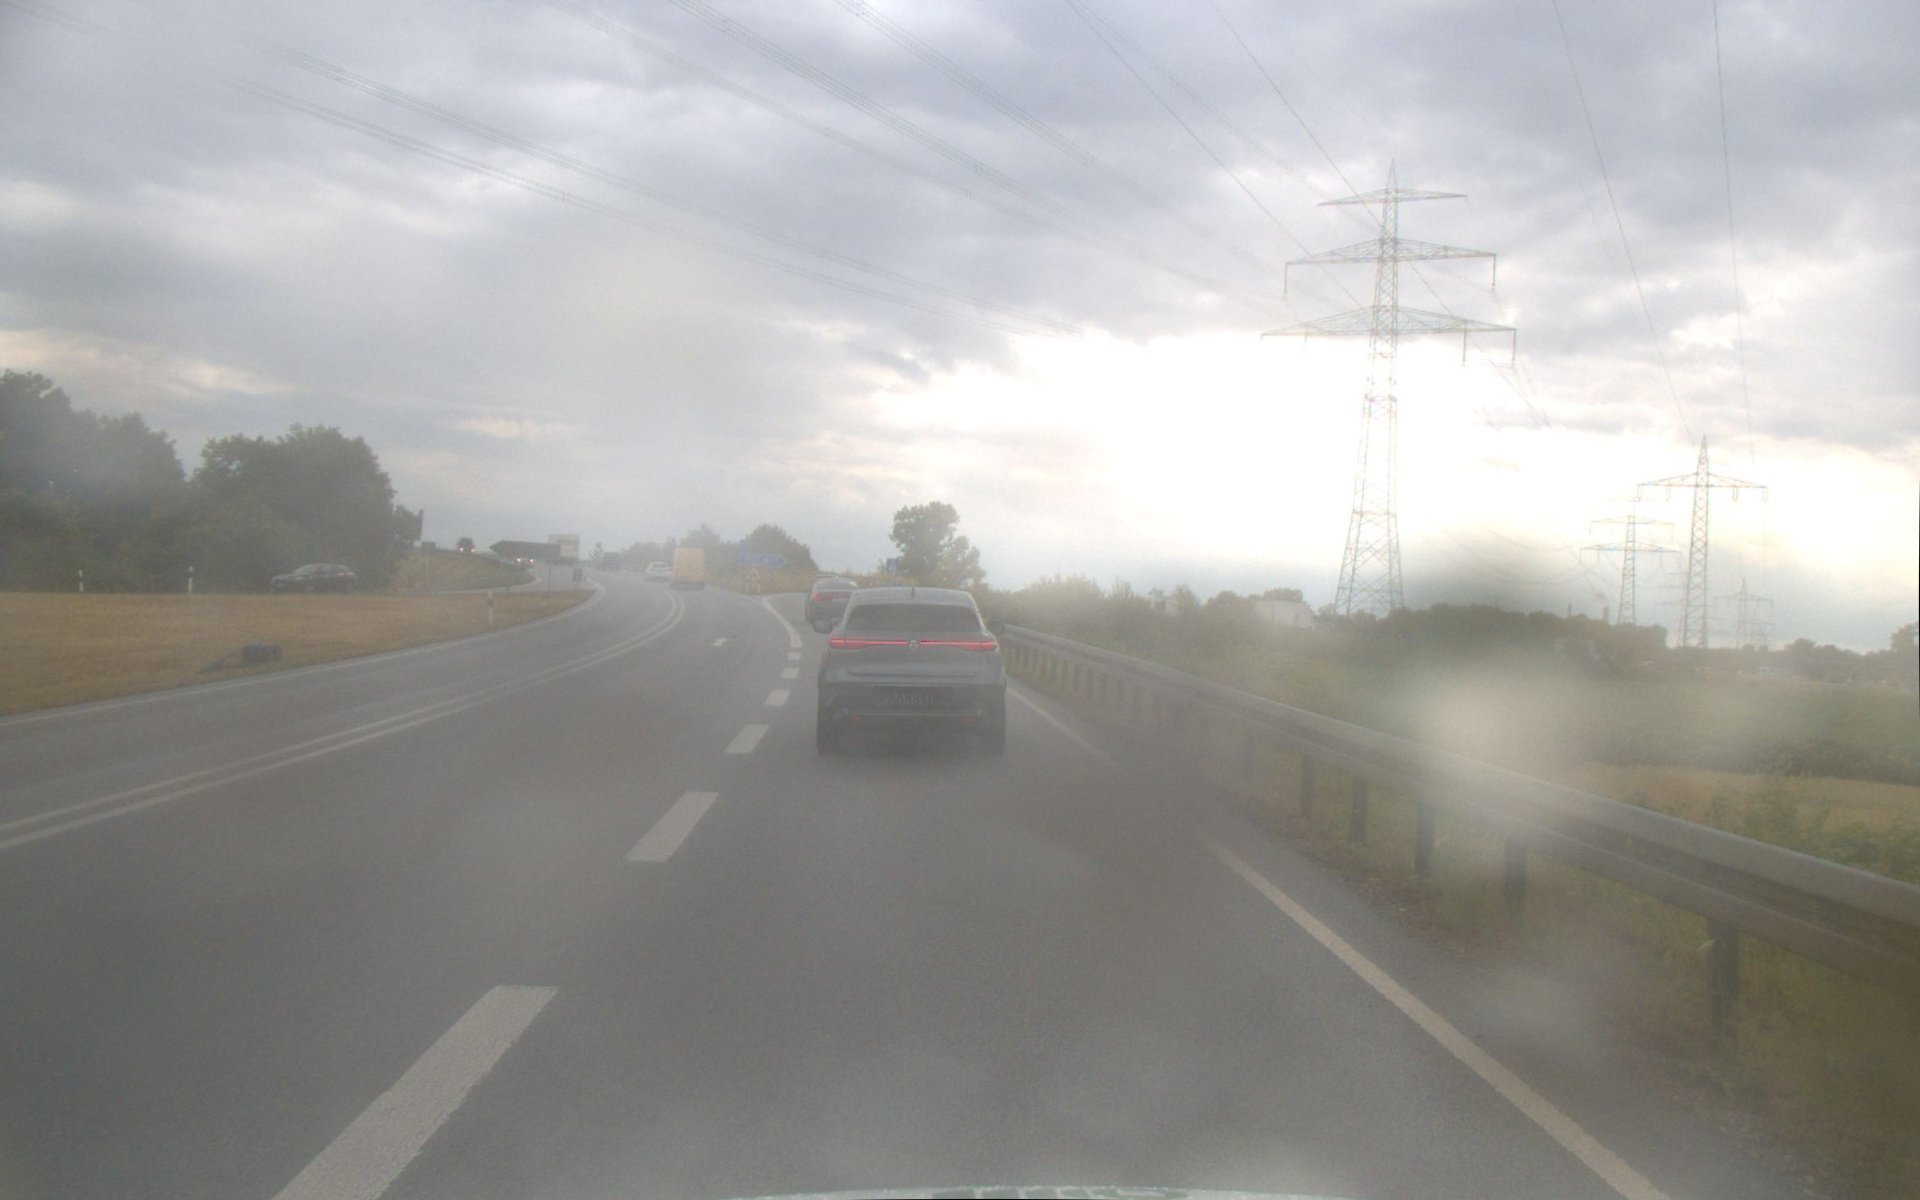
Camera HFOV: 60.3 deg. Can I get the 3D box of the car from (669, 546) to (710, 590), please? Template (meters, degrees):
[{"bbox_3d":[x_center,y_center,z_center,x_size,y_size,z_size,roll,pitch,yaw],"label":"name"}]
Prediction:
[{"bbox_3d":[-17.811,-2.139,108.624,2.526,2.772,7.179,-1,2,-10],"label":"car"}]

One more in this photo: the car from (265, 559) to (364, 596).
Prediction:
[{"bbox_3d":[-29.584,-1.009,75.949,1.943,1.631,3.911,2,1,27],"label":"car"}]

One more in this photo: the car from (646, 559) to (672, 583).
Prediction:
[{"bbox_3d":[-23.428,-2.233,128.650,1.760,1.717,3.987,2,-1,-13],"label":"car"}]

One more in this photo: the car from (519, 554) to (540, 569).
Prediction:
[{"bbox_3d":[-44.277,-3.955,170.105,1.718,1.389,4.028,-2,0,-19],"label":"car"}]

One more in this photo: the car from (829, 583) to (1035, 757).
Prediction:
[{"bbox_3d":[-0.307,0.611,16.244,1.755,1.466,3.998,1,0,-2],"label":"car"}]

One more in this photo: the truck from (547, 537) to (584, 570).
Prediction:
[{"bbox_3d":[-45.895,-5.411,192.334,3.003,3.444,7.592,2,-1,-22],"label":"truck"}]

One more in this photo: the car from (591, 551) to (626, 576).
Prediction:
[{"bbox_3d":[-35.539,-3.698,167.069,2.566,2.290,5.498,2,-1,-22],"label":"car"}]

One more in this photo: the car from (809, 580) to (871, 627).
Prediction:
[{"bbox_3d":[-4.101,0.134,56.006,1.758,1.466,3.992,3,-1,-8],"label":"car"}]
